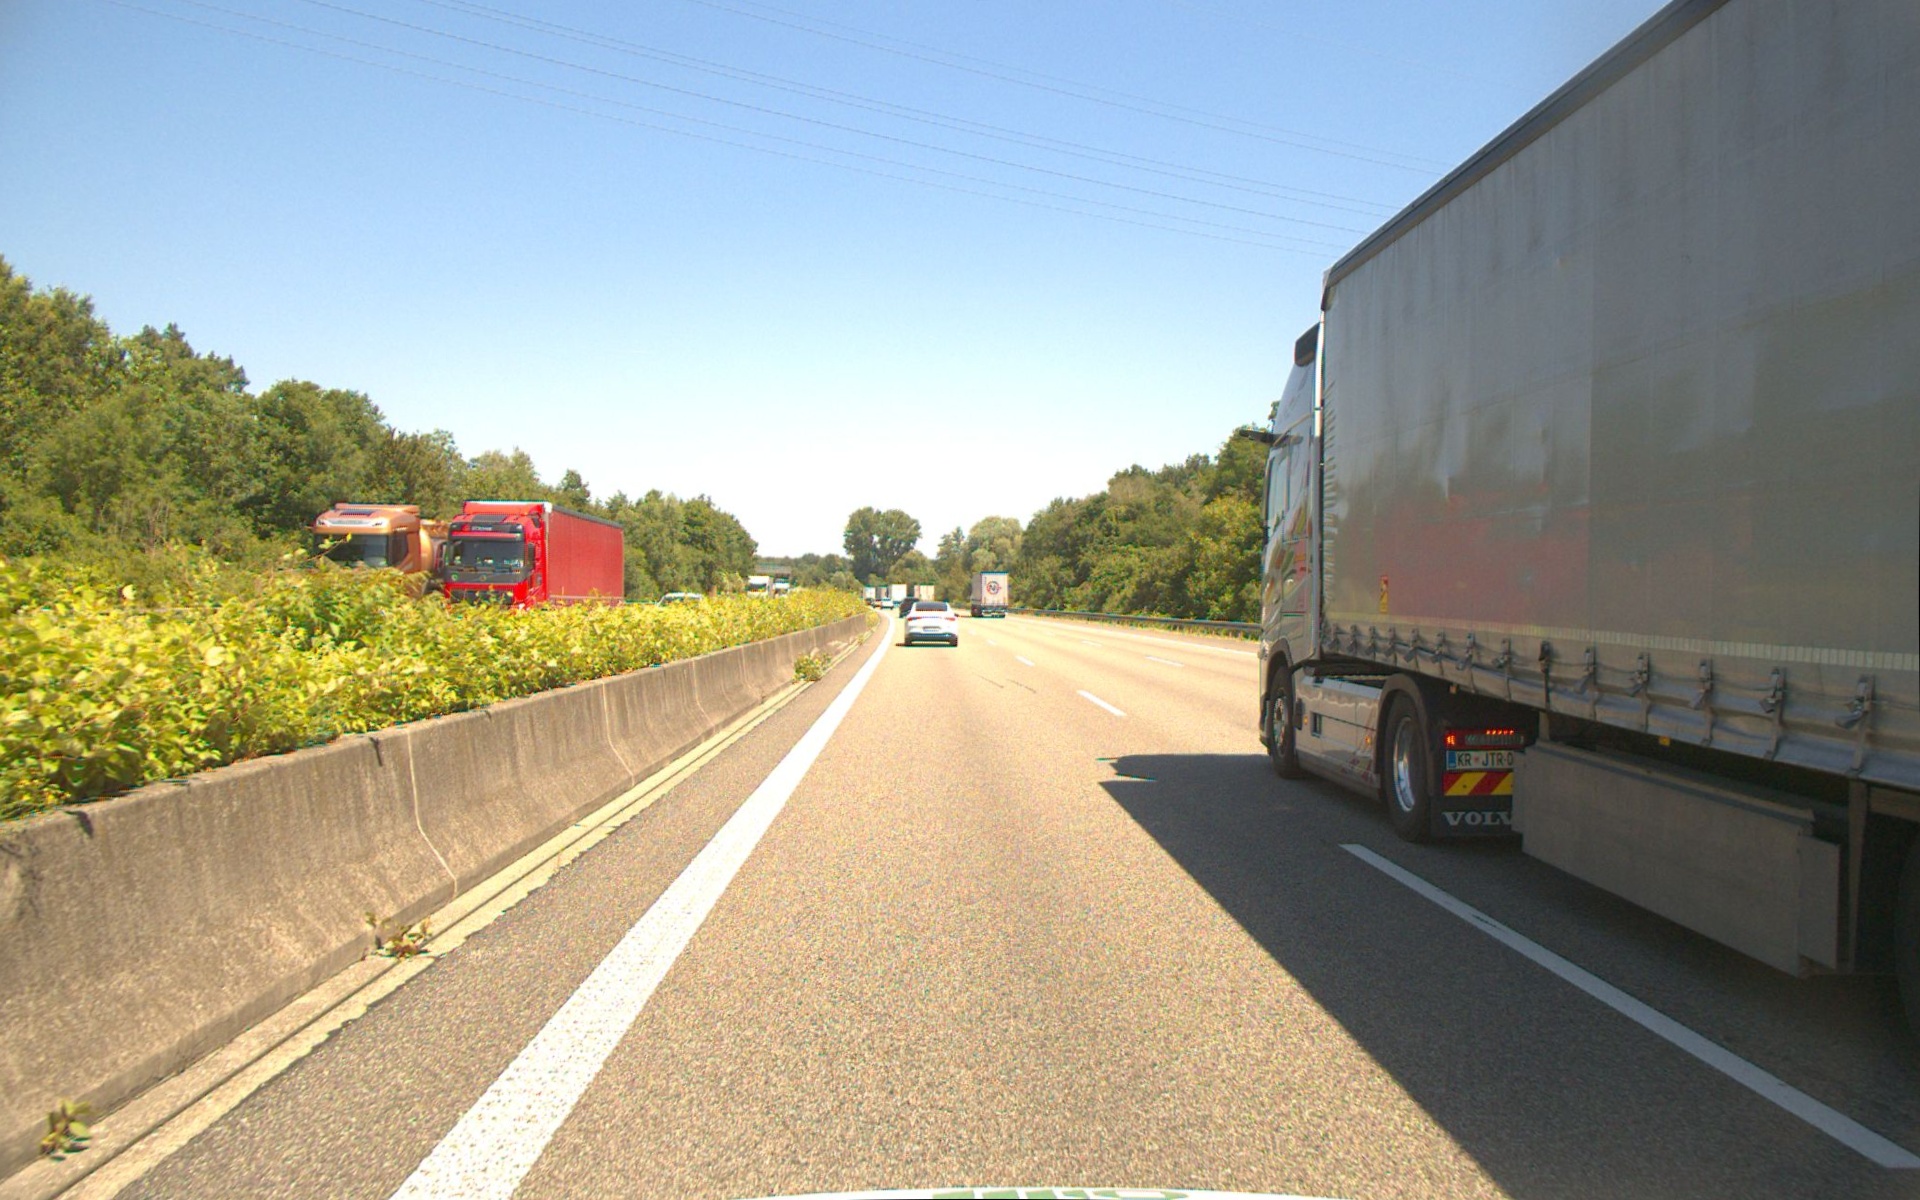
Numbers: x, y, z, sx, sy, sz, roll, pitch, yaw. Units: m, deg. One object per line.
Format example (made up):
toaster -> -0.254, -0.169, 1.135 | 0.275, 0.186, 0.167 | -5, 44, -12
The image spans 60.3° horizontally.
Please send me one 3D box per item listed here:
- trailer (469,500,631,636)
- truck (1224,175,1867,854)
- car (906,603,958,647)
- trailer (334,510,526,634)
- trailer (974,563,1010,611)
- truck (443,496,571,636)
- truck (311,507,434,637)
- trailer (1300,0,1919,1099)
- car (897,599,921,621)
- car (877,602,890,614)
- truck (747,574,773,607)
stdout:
trailer -> -13.596, -0.963, 56.282 | 2.416, 4.004, 14.394 | 1, 0, -2
truck -> 4.058, -0.510, 13.215 | 2.667, 4.044, 6.499 | 1, 0, -1
car -> -0.920, 0.819, 55.569 | 1.680, 1.393, 3.374 | 1, 0, 0
trailer -> -17.564, -0.832, 56.118 | 2.324, 3.658, 14.215 | 1, 0, -2
trailer -> 2.984, -1.177, 156.935 | 2.571, 4.335, 14.054 | 1, 0, -2
truck -> -13.346, -0.952, 49.153 | 2.416, 3.854, 5.726 | 1, 0, -3
truck -> -17.299, -0.795, 48.920 | 2.310, 3.664, 4.161 | 1, 0, -4
trailer -> 4.214, -0.509, 6.308 | 2.684, 4.044, 13.650 | 1, 0, -1
car -> -4.334, 0.810, 139.845 | 1.954, 1.803, 3.997 | 1, 0, -3
car -> -11.359, 1.180, 245.299 | 1.690, 1.814, 3.996 | 1, 0, -5
truck -> -24.982, -1.208, 206.915 | 2.607, 4.054, 6.551 | 1, 0, -2
